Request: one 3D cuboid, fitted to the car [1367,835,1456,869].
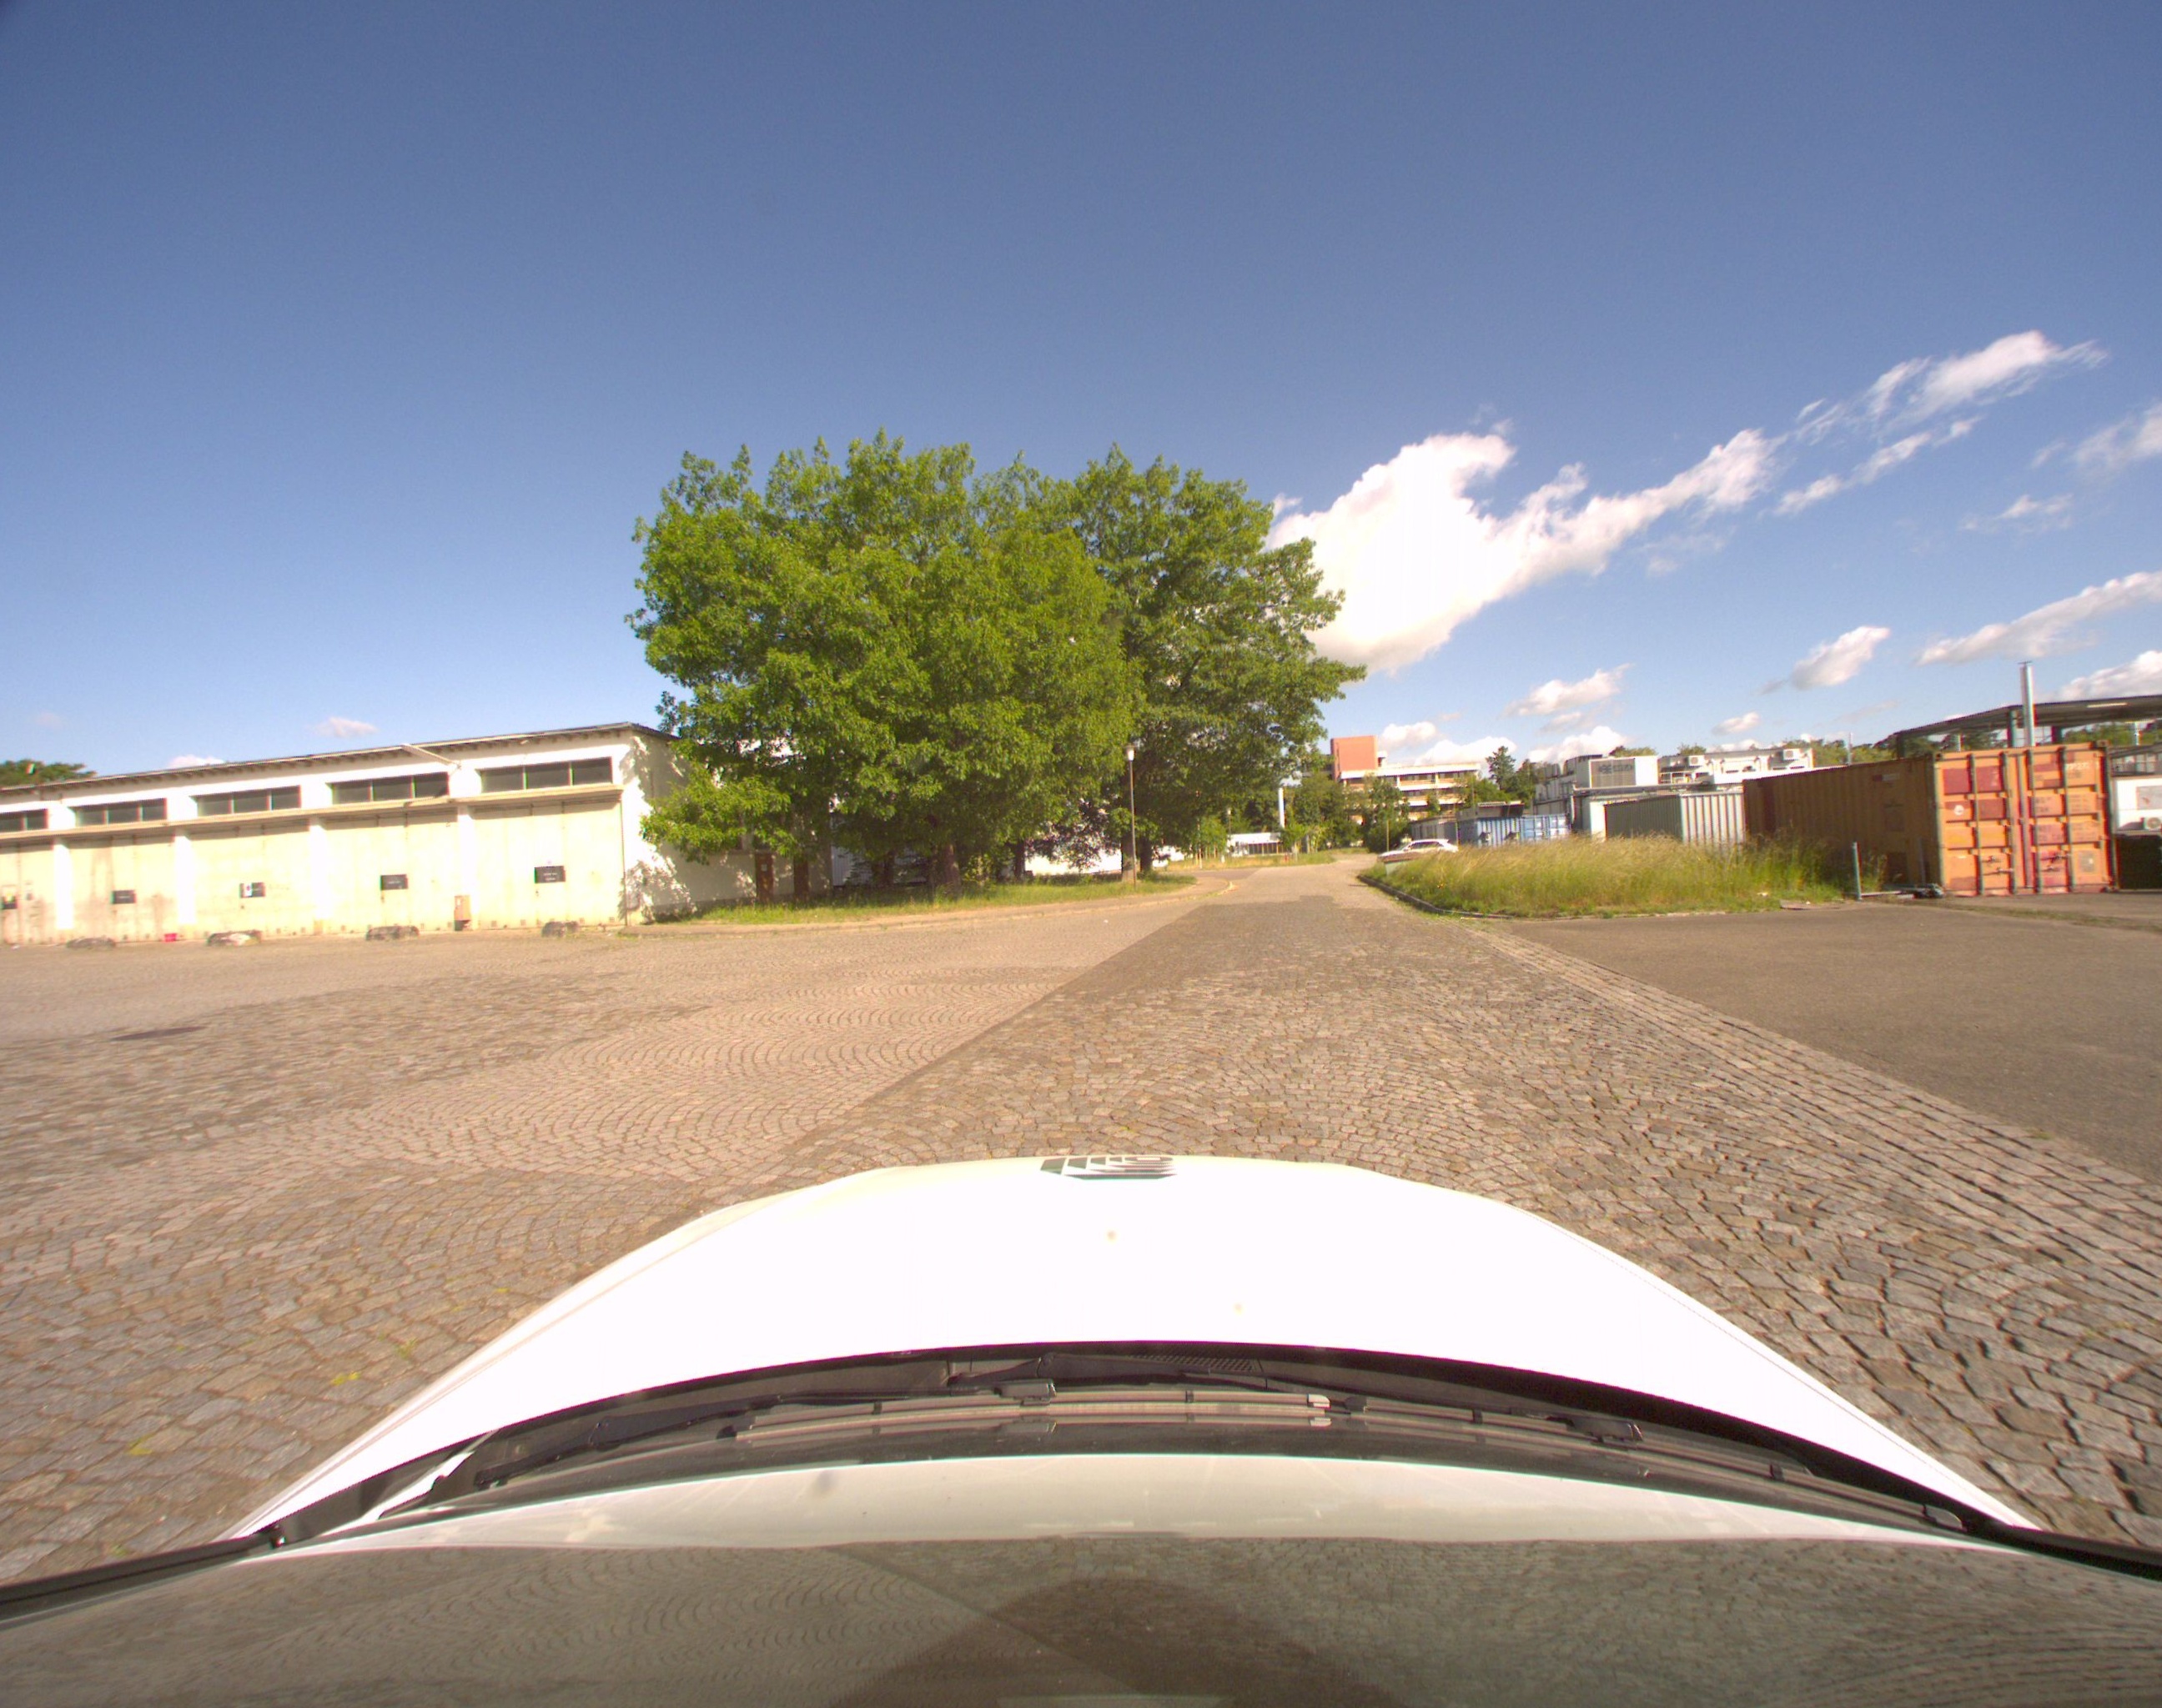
[{"bbox_3d":[19.366,-0.119,47.893,4.555,1.677,1.882,-3,0,14],"label":"car"}]
